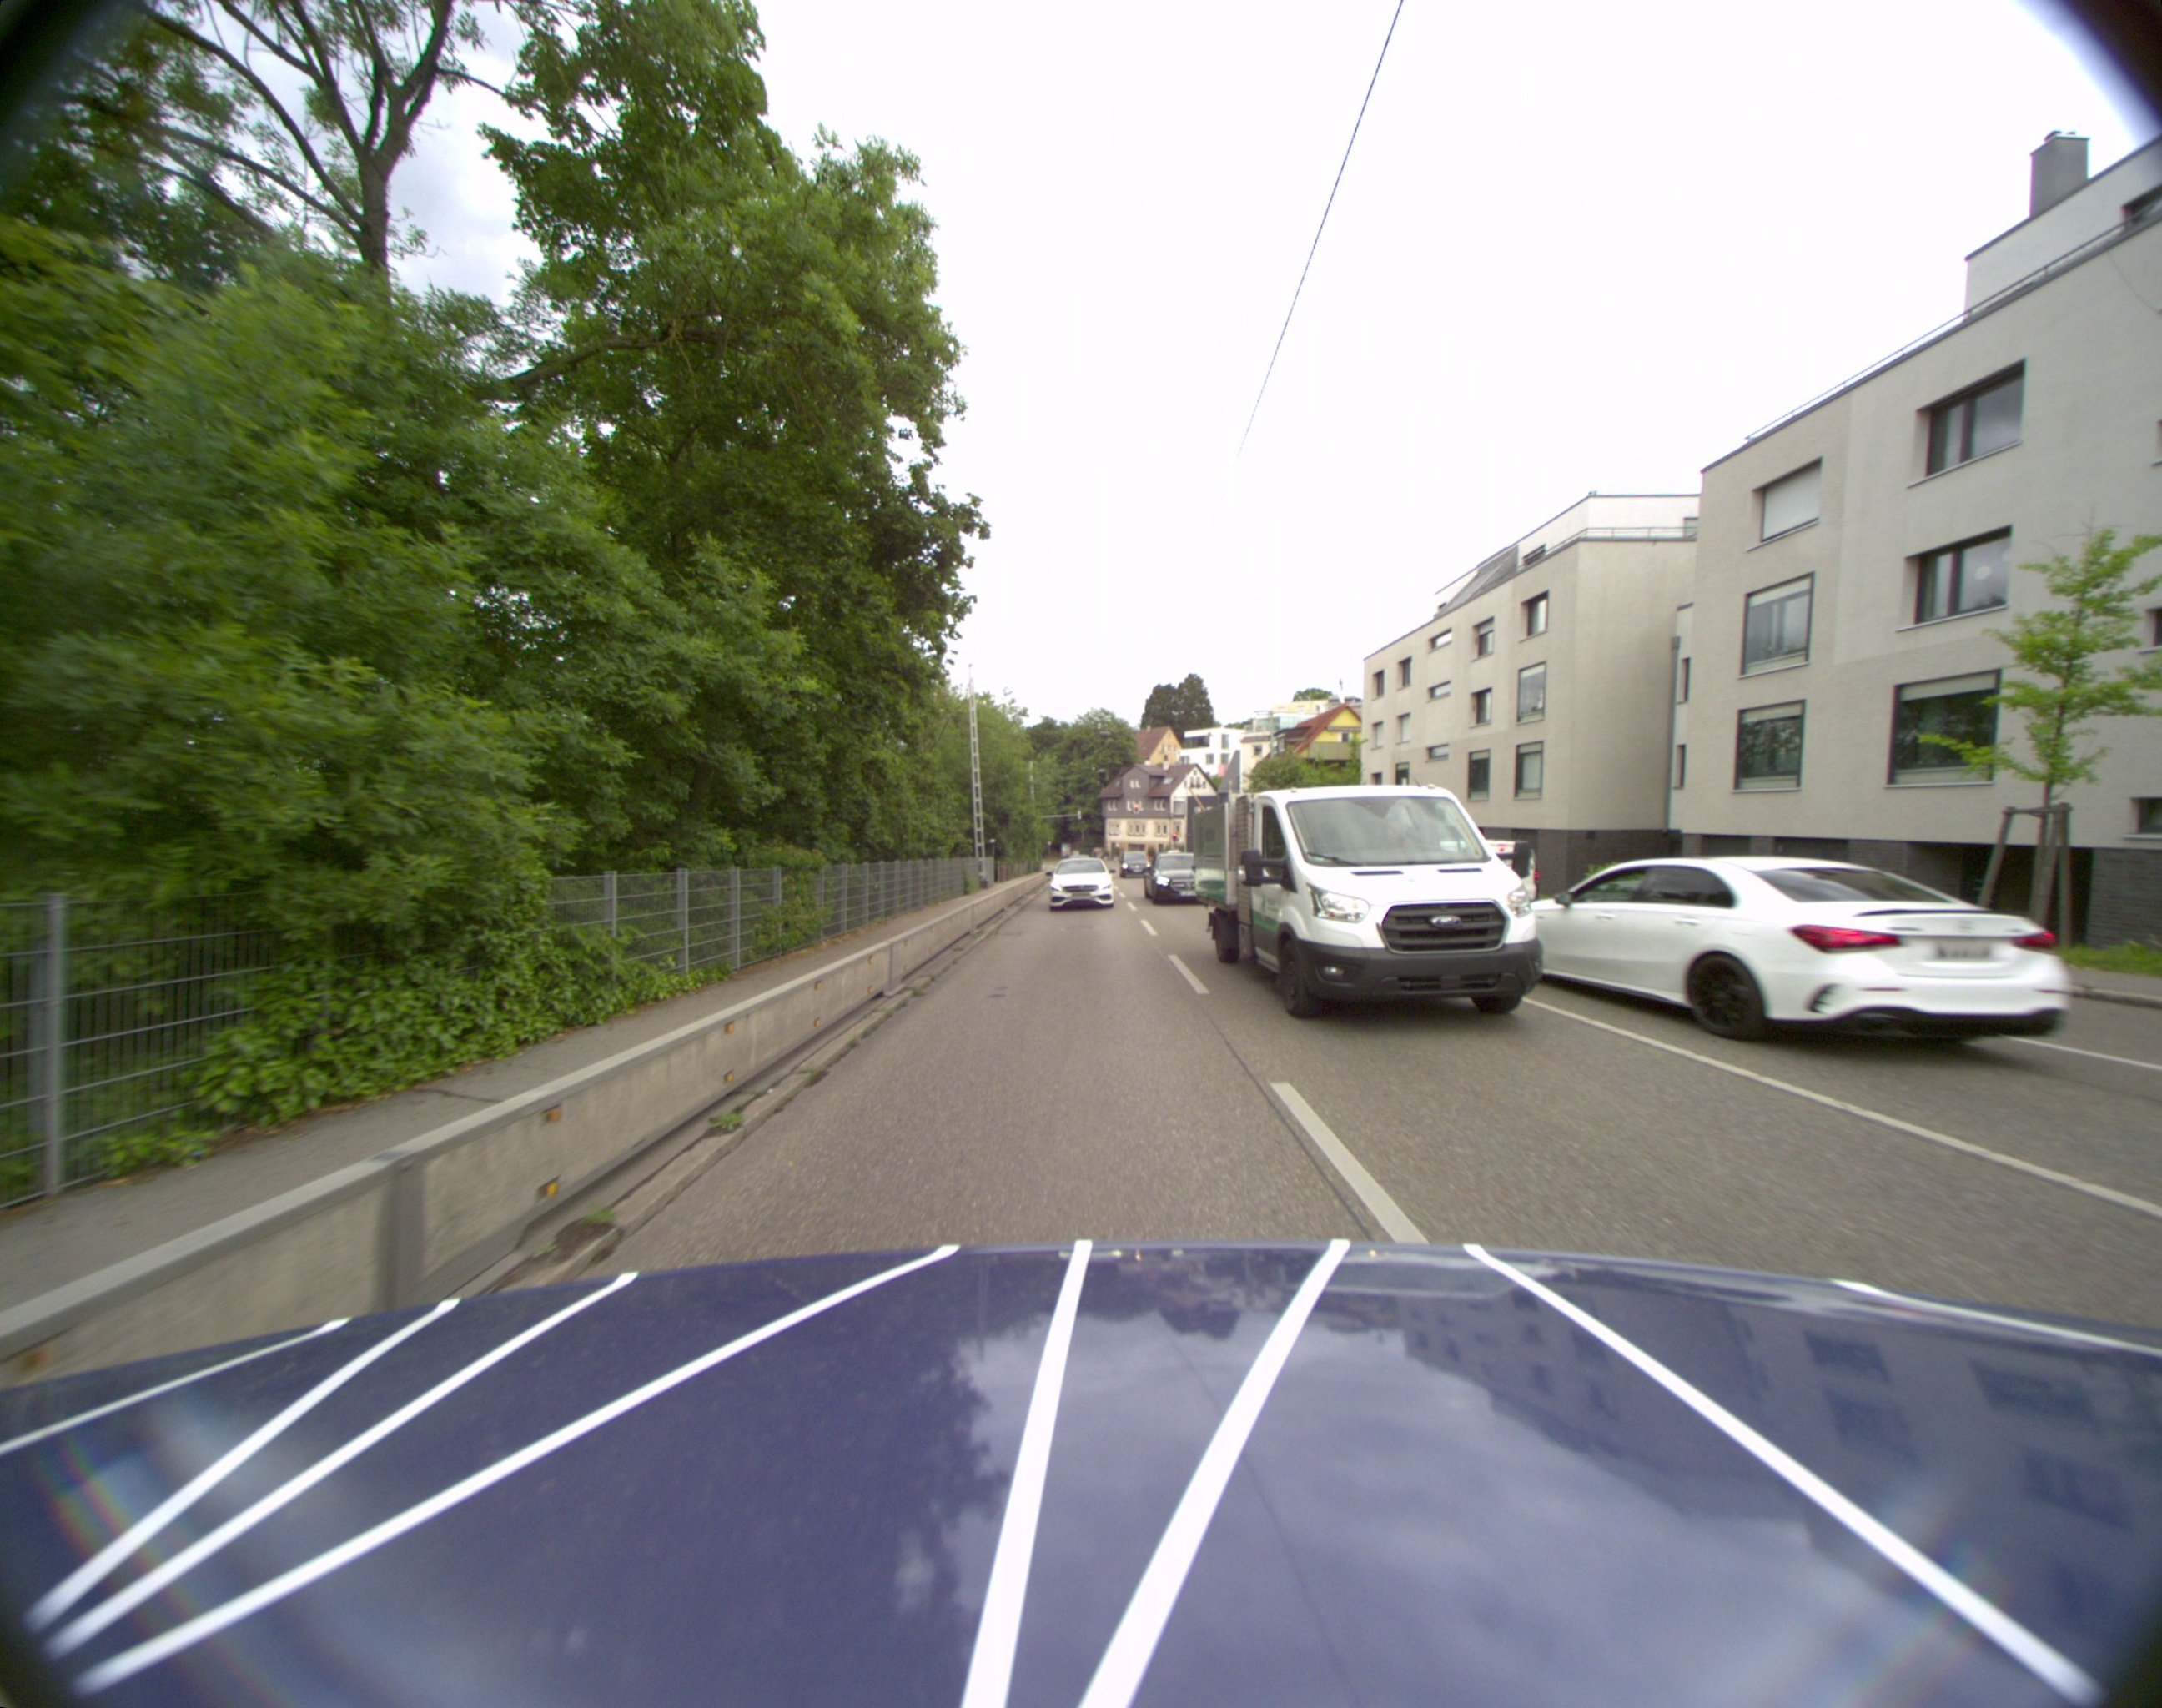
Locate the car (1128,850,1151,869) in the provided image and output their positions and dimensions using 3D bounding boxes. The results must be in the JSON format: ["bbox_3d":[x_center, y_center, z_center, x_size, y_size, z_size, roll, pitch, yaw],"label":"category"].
[{"bbox_3d":[5.770,0.539,75.300,1.900,1.685,4.347,-2,0,1],"label":"car"}]

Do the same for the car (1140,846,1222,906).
[{"bbox_3d":[2.955,0.587,23.248,1.915,1.472,4.399,-3,2,1],"label":"car"}]

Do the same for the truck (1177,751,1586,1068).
[{"bbox_3d":[2.656,0.403,8.831,2.081,2.307,6.330,-1,0,-1],"label":"truck"}]

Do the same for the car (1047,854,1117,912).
[{"bbox_3d":[0.065,0.786,22.370,1.817,1.391,3.999,-3,1,1],"label":"car"}]

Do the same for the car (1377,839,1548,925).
[{"bbox_3d":[8.966,0.582,18.407,1.737,1.778,4.867,1,0,1],"label":"car"}]

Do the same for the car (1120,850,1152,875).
[{"bbox_3d":[3.360,0.504,46.971,1.693,1.499,4.000,0,0,1],"label":"car"}]

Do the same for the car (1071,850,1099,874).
[{"bbox_3d":[0.268,0.481,50.324,1.777,1.532,4.000,0,0,1],"label":"car"}]

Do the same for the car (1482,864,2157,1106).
[{"bbox_3d":[5.752,0.843,6.944,1.820,1.378,4.462,1,0,1],"label":"car"}]
